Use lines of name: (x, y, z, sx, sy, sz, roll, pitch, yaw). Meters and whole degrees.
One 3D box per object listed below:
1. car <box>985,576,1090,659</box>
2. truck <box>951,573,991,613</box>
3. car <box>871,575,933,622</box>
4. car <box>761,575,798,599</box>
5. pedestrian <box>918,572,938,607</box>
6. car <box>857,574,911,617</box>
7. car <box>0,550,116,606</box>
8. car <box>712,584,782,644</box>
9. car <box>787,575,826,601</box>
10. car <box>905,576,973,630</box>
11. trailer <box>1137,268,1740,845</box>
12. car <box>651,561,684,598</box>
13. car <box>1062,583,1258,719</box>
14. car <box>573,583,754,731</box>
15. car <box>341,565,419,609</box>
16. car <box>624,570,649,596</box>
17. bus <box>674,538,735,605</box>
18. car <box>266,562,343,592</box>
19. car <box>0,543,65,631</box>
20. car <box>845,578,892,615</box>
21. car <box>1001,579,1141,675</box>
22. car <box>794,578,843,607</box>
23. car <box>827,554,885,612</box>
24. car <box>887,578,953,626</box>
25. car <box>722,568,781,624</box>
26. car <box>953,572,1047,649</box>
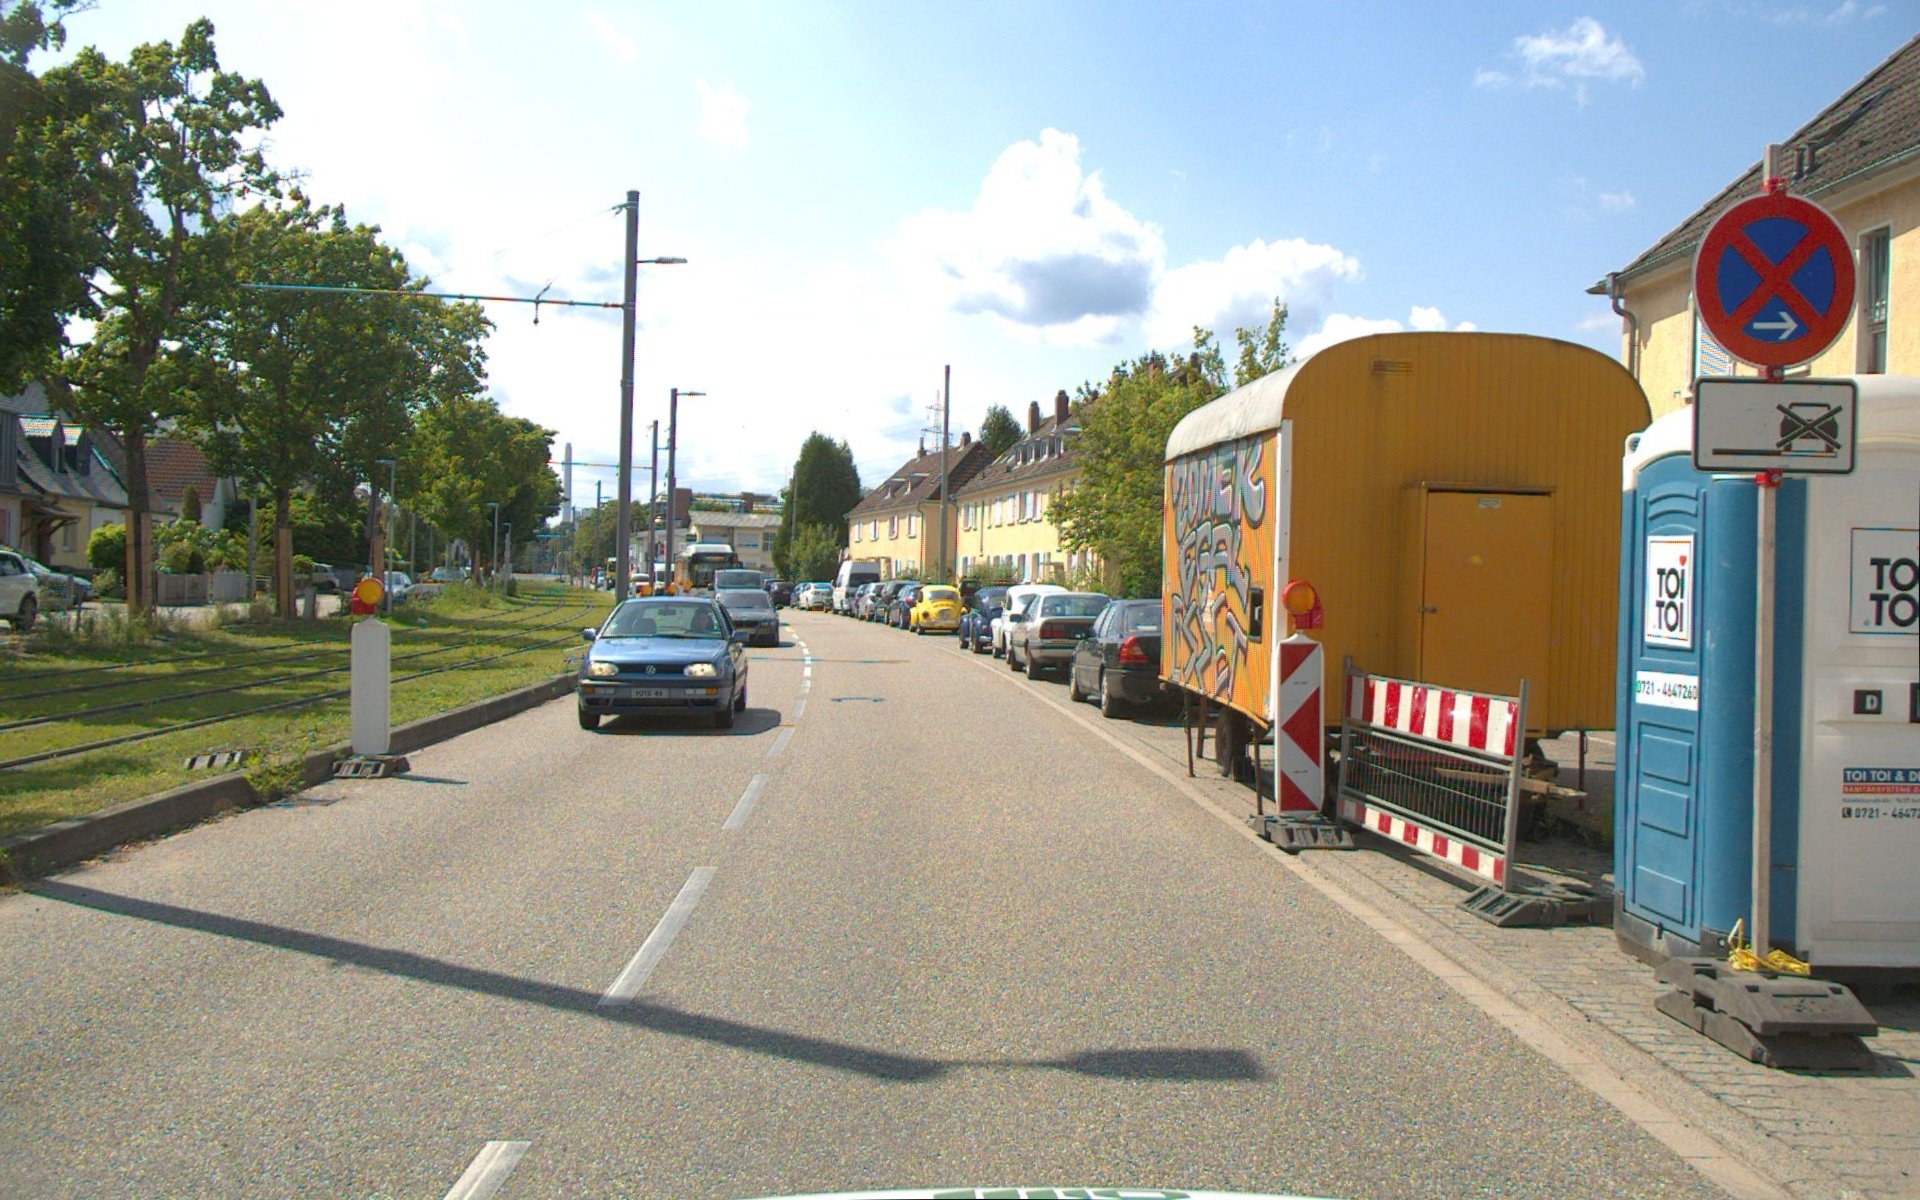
car: (1.502, 0.301, 33.591, 1.546, 1.539, 4.455, 2, 1, -5)
truck: (0.484, -0.312, 74.127, 1.322, 1.718, 2.435, 1, 0, -11)
car: (-2.200, -0.077, 61.643, 1.607, 1.630, 3.920, 2, 1, -12)
car: (-11.123, -0.806, 101.854, 1.734, 1.442, 3.985, 0, 1, -15)
pedestrian: (-1.570, -0.498, 80.757, 0.838, 1.680, 0.635, 2, 0, -10)
car: (-3.048, -0.203, 65.519, 1.606, 1.630, 4.020, 2, 1, -10)
car: (-27.639, -0.671, 48.881, 4.388, 1.550, 1.921, 2, 0, -10)
car: (-5.515, 0.325, 42.695, 1.692, 1.413, 4.114, 1, 0, -8)
car: (-8.674, -0.699, 93.371, 1.594, 1.442, 3.985, 0, 1, -15)
car: (-0.695, 0.065, 51.111, 1.605, 1.508, 3.925, -1, 2, -8)
trailer: (3.074, -0.263, 12.162, 2.637, 3.283, 5.078, 2, 0, -4)
car: (-20.471, -1.415, 115.606, 2.065, 2.486, 5.556, 2, 0, -11)
car: (2.375, 0.548, 20.730, 1.546, 1.474, 4.449, 2, 1, -5)
car: (-3.290, 0.562, 18.975, 1.632, 1.474, 3.956, -1, 1, -5)
car: (-20.379, -0.460, 58.292, 1.786, 1.430, 4.802, 2, 0, -10)
car: (-23.368, -1.271, 119.430, 1.704, 1.804, 4.296, 2, 1, -12)
bus: (-14.334, -1.581, 92.049, 2.590, 3.472, 12.210, 0, 1, -12)
car: (-37.450, -1.334, 94.565, 3.924, 1.598, 1.786, 1, 1, -18)
car: (-20.516, -0.287, 33.910, 1.844, 1.799, 5.079, 1, 0, -4)
car: (-3.916, -0.150, 70.275, 1.508, 1.470, 3.728, 2, 1, -10)
car: (1.816, 0.395, 28.507, 1.673, 1.474, 4.830, 2, 1, -5)
car: (-7.561, -0.413, 88.003, 1.769, 1.483, 4.746, 0, 0, -15)
car: (-4.800, -0.789, 75.551, 1.895, 2.524, 5.502, 1, 1, -11)
car: (-1.405, 0.038, 56.292, 1.606, 1.508, 4.115, 2, 1, -10)
car: (-7.805, -0.177, 61.569, 1.920, 2.000, 5.281, 1, 1, -10)
car: (0.869, 0.214, 38.688, 1.519, 1.669, 4.239, 2, 1, -8)
